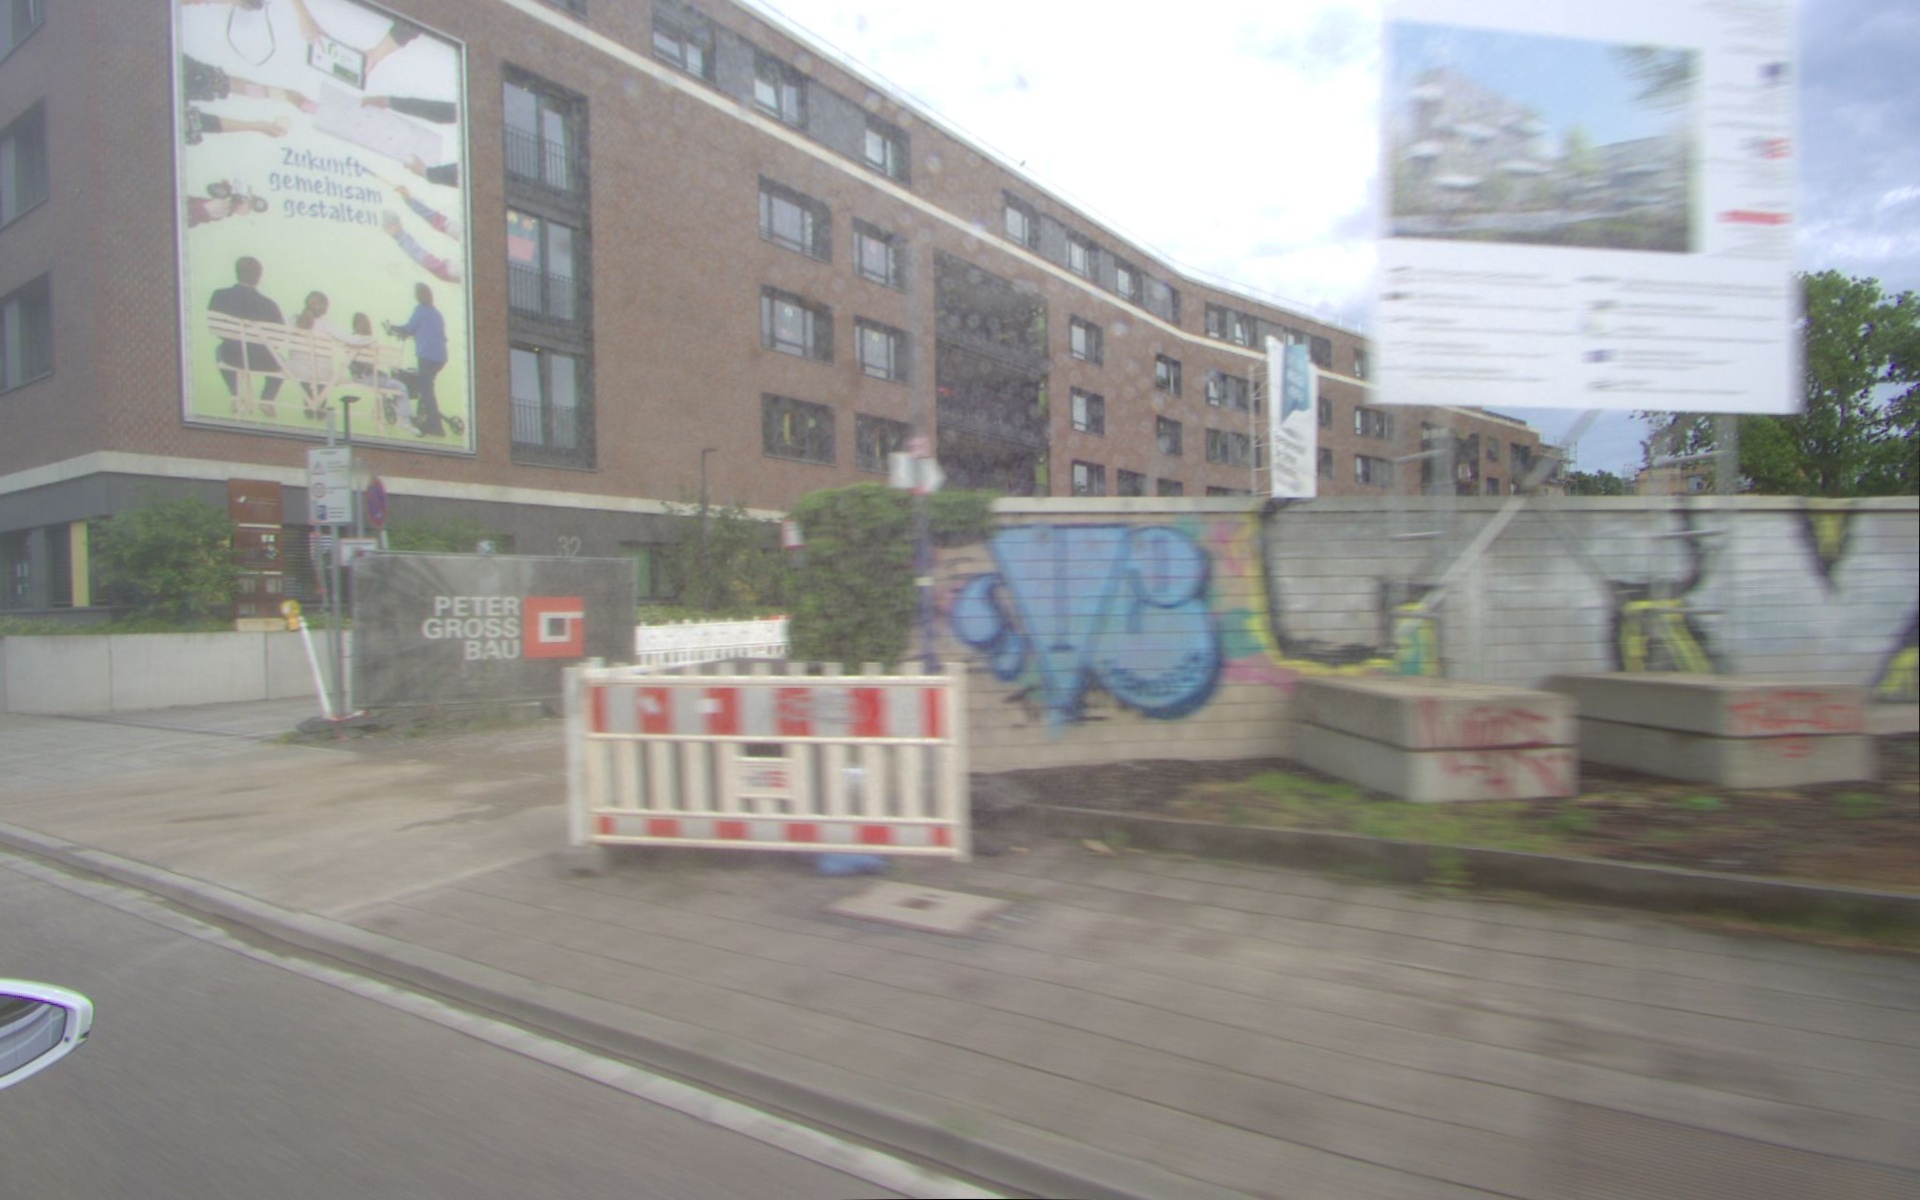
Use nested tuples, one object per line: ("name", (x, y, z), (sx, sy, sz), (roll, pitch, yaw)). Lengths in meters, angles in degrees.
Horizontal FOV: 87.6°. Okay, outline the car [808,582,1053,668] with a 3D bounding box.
("car", (-0.590, 0.456, 18.767), (4.283, 1.437, 1.760), (-1, 1, 30))
